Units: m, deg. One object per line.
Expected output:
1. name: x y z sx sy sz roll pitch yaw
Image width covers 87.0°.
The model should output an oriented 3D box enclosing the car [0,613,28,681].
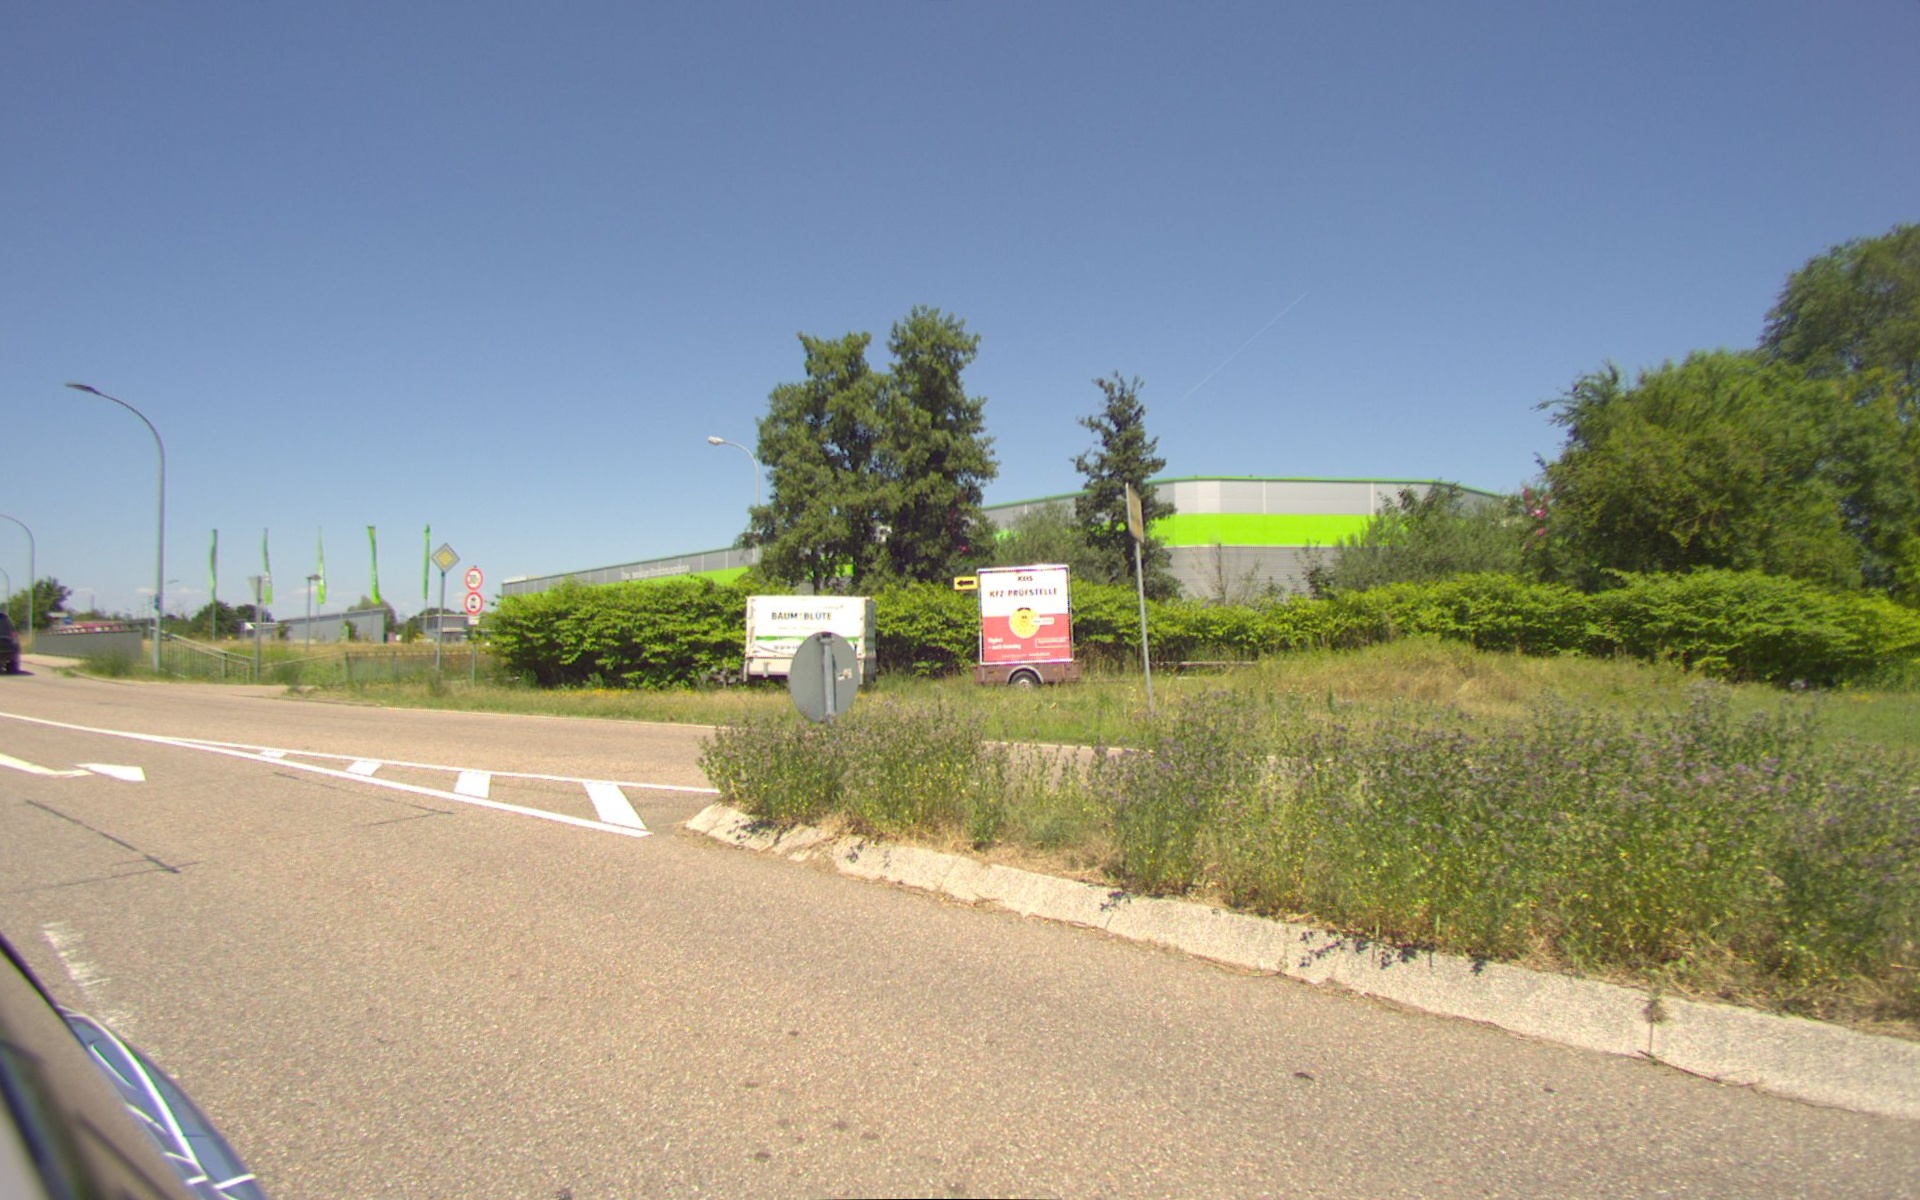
1. car: -25.874 1.162 26.254 3.996 1.715 1.883 -1 -4 40

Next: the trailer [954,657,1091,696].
1. trailer: 1.353 1.612 21.652 2.817 0.744 1.563 0 -1 6

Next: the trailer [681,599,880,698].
1. trailer: -3.817 1.024 21.885 3.911 2.029 1.853 0 -1 7
